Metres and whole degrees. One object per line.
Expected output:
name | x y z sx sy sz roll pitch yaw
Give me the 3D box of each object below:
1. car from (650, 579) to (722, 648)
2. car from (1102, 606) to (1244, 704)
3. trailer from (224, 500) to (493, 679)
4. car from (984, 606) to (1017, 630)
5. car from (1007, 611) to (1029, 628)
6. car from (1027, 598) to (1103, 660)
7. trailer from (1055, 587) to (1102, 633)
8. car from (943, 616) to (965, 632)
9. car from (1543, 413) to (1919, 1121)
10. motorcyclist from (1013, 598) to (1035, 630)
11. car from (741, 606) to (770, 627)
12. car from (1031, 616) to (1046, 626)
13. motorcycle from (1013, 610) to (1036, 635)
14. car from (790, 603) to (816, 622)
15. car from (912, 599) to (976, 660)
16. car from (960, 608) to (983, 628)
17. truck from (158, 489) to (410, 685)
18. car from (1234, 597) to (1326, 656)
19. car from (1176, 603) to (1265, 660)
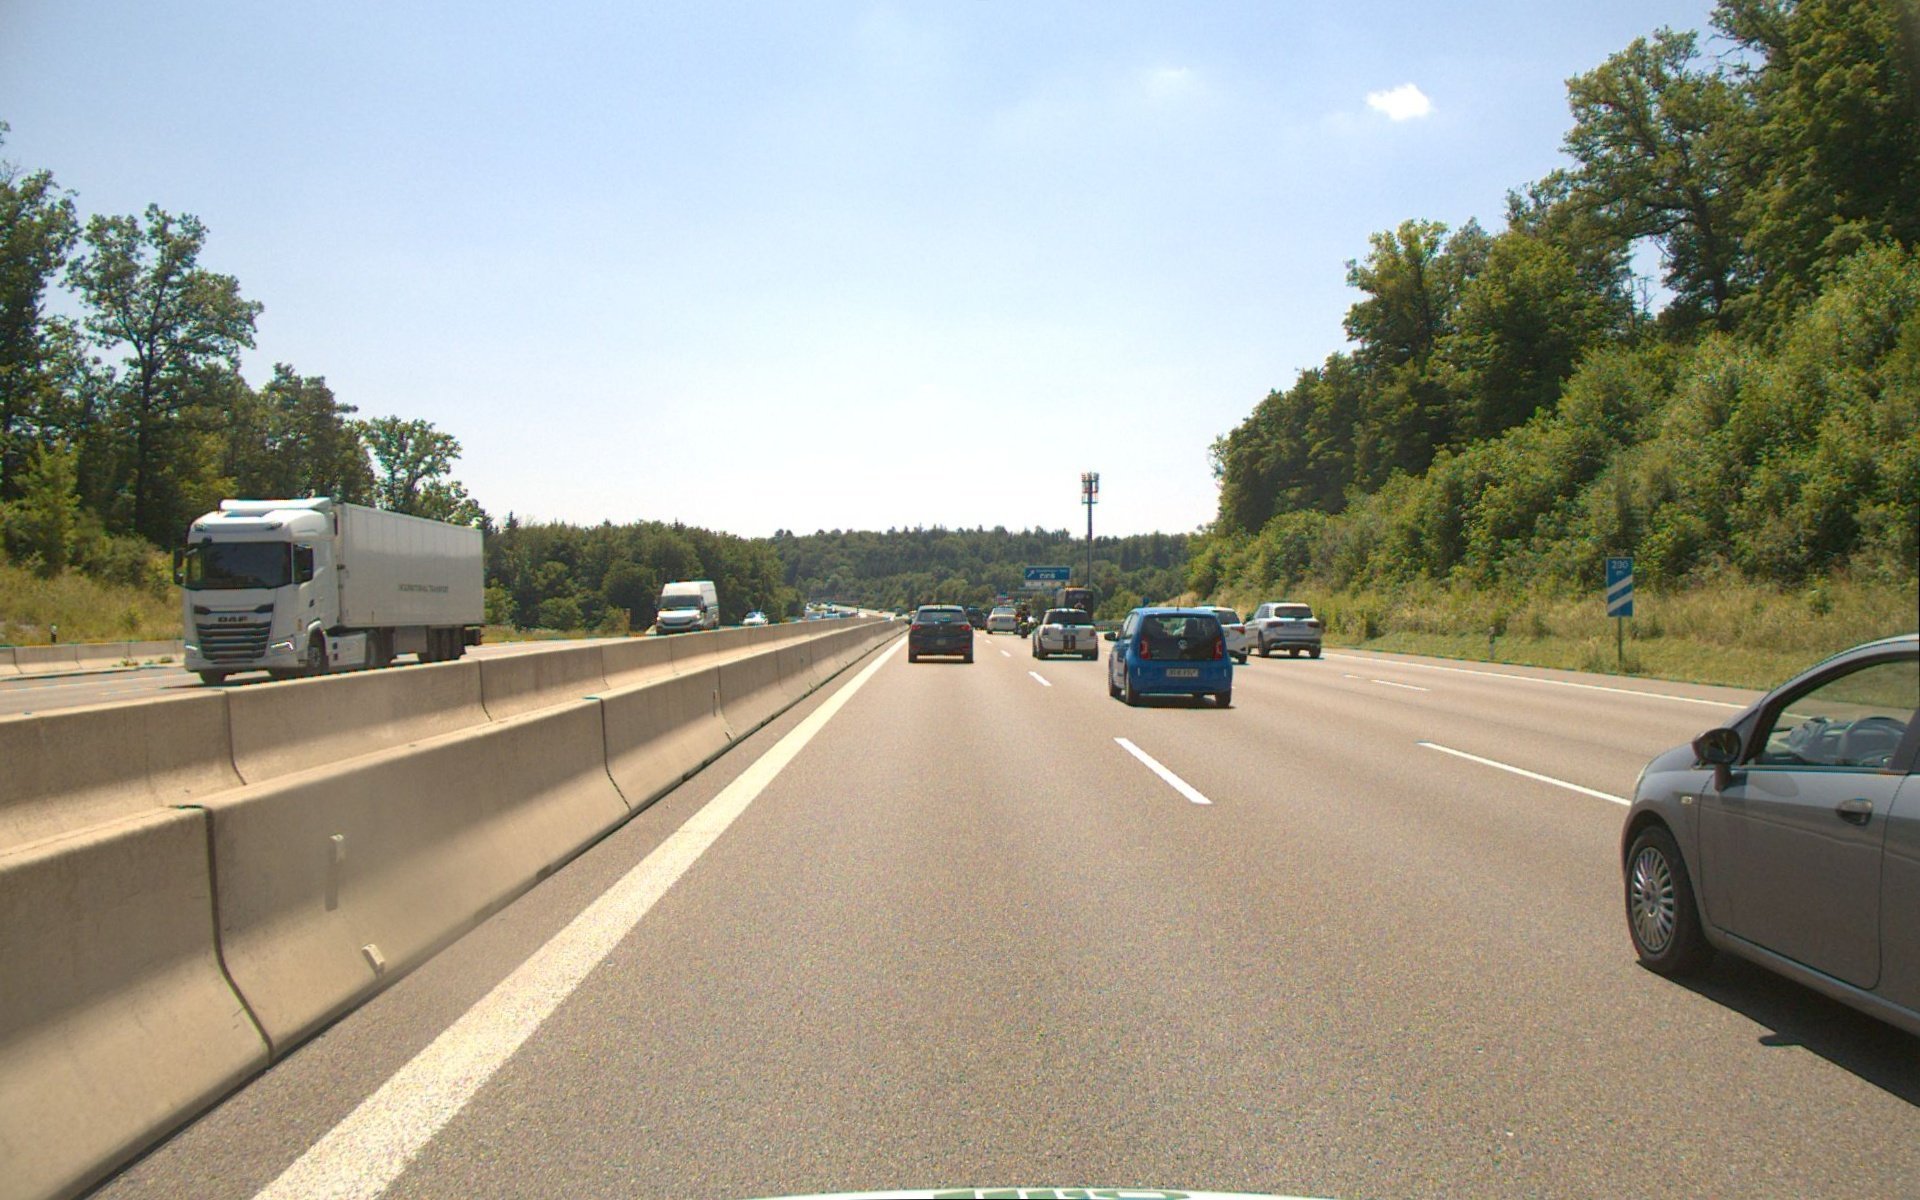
car | -12.176 0.592 74.083 2.043 2.849 7.600 -2 0 -1
car | 3.301 0.842 26.328 1.702 1.436 3.999 0 -1 -1
trailer | -16.068 -0.223 45.753 2.867 4.156 13.832 -1 0 -2
car | 2.290 1.028 93.941 1.746 1.287 3.459 -1 0 -1
car | 5.193 1.723 147.442 1.642 1.457 3.683 -1 0 -3
car | 2.927 0.815 46.786 1.804 1.579 3.999 3 -1 0
trailer | 10.298 0.949 145.242 2.799 3.753 13.537 -1 -1 -1
car | -0.673 2.626 182.856 1.955 1.713 4.419 1 0 -5
car | 3.790 0.495 5.580 1.921 2.089 4.783 0 0 -1
motorcyclist | 3.052 0.679 78.943 0.942 1.463 1.235 -2 -1 -1
car | -16.483 1.296 133.559 1.708 1.589 4.422 -3 0 0
car | 9.675 2.605 204.904 1.576 1.234 3.458 -1 -1 -2
motorcycle | 3.073 1.044 79.035 0.957 1.149 2.271 -1 0 -1
car | -13.569 1.096 143.338 1.764 1.576 4.728 -1 0 0
car | -0.424 0.734 43.195 1.591 1.513 3.685 0 0 -1
car | 1.102 1.718 161.552 2.055 1.884 4.079 -1 0 -2
truck | -15.663 -0.280 39.063 2.836 4.140 7.787 -1 0 -1
car | 10.022 0.797 52.176 1.764 1.761 5.238 1 0 -1
car | 7.110 0.823 45.457 1.632 1.458 4.374 -1 0 -2
